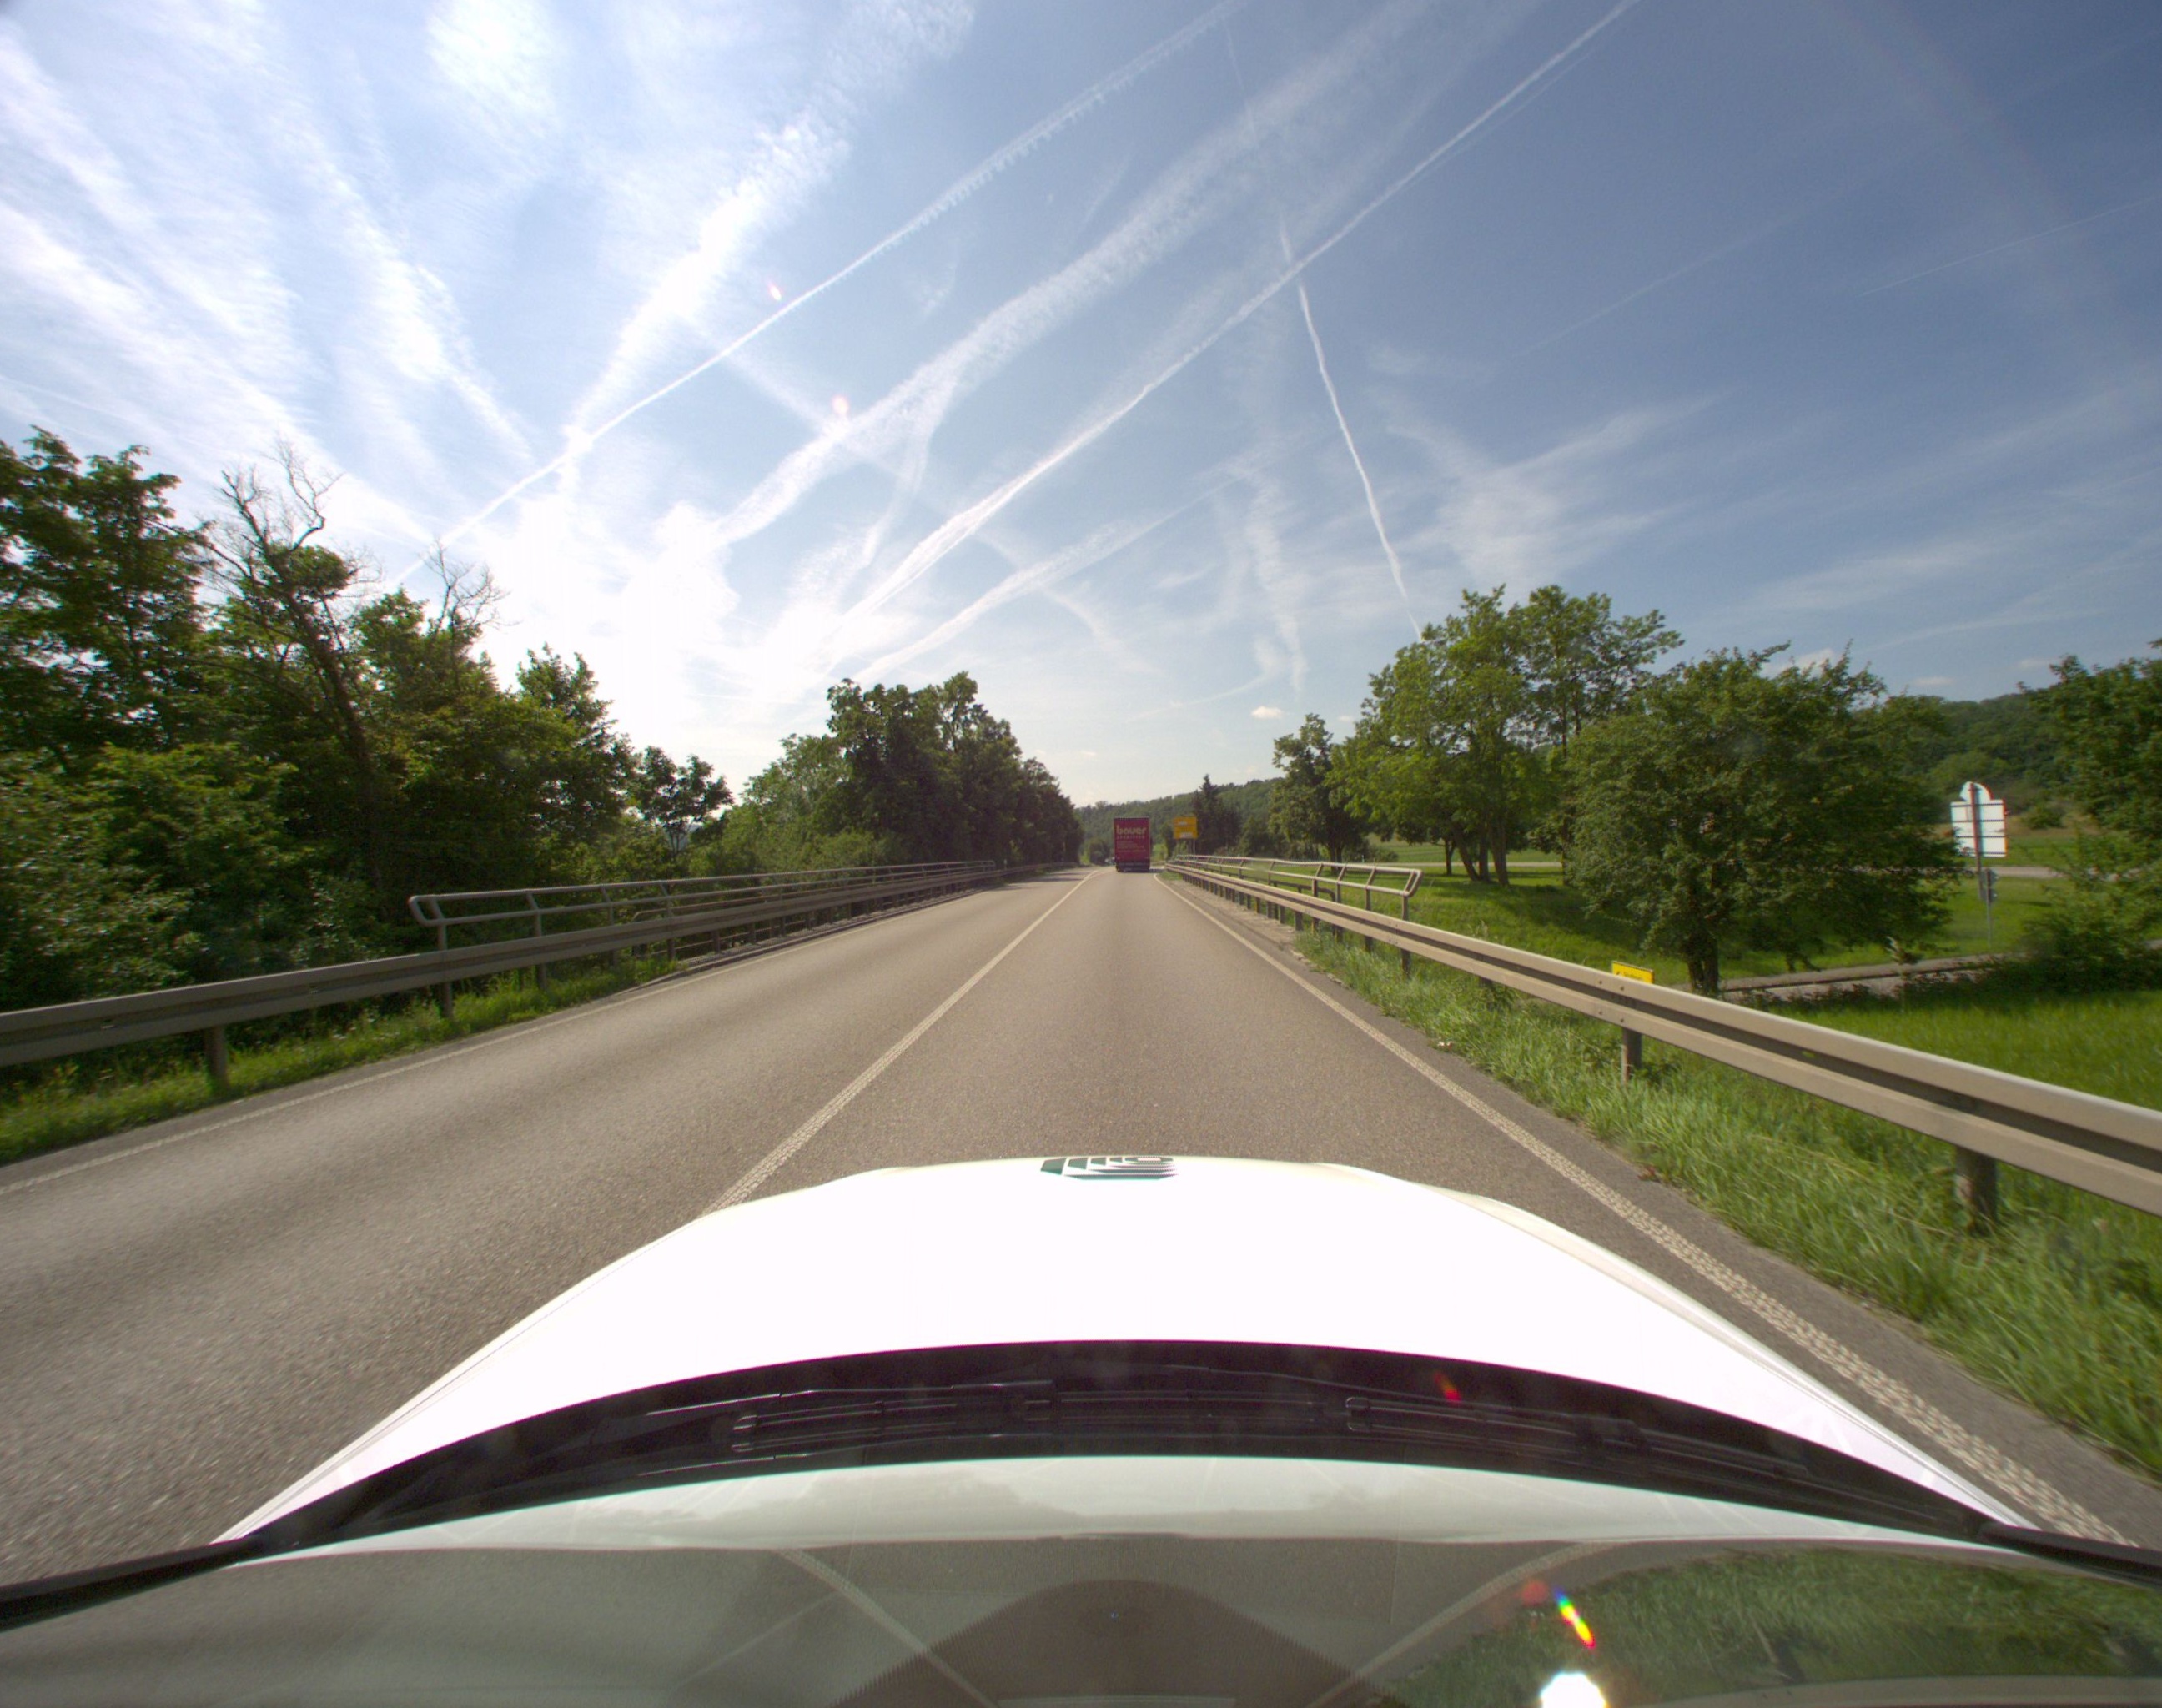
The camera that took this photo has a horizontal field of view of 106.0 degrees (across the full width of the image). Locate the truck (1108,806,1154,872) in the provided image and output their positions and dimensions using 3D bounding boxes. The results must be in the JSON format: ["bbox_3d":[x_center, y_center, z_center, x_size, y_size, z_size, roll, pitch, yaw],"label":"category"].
[{"bbox_3d":[3.912,-1.098,64.499,3.159,4.625,13.554,-1,0,3],"label":"truck"}]
